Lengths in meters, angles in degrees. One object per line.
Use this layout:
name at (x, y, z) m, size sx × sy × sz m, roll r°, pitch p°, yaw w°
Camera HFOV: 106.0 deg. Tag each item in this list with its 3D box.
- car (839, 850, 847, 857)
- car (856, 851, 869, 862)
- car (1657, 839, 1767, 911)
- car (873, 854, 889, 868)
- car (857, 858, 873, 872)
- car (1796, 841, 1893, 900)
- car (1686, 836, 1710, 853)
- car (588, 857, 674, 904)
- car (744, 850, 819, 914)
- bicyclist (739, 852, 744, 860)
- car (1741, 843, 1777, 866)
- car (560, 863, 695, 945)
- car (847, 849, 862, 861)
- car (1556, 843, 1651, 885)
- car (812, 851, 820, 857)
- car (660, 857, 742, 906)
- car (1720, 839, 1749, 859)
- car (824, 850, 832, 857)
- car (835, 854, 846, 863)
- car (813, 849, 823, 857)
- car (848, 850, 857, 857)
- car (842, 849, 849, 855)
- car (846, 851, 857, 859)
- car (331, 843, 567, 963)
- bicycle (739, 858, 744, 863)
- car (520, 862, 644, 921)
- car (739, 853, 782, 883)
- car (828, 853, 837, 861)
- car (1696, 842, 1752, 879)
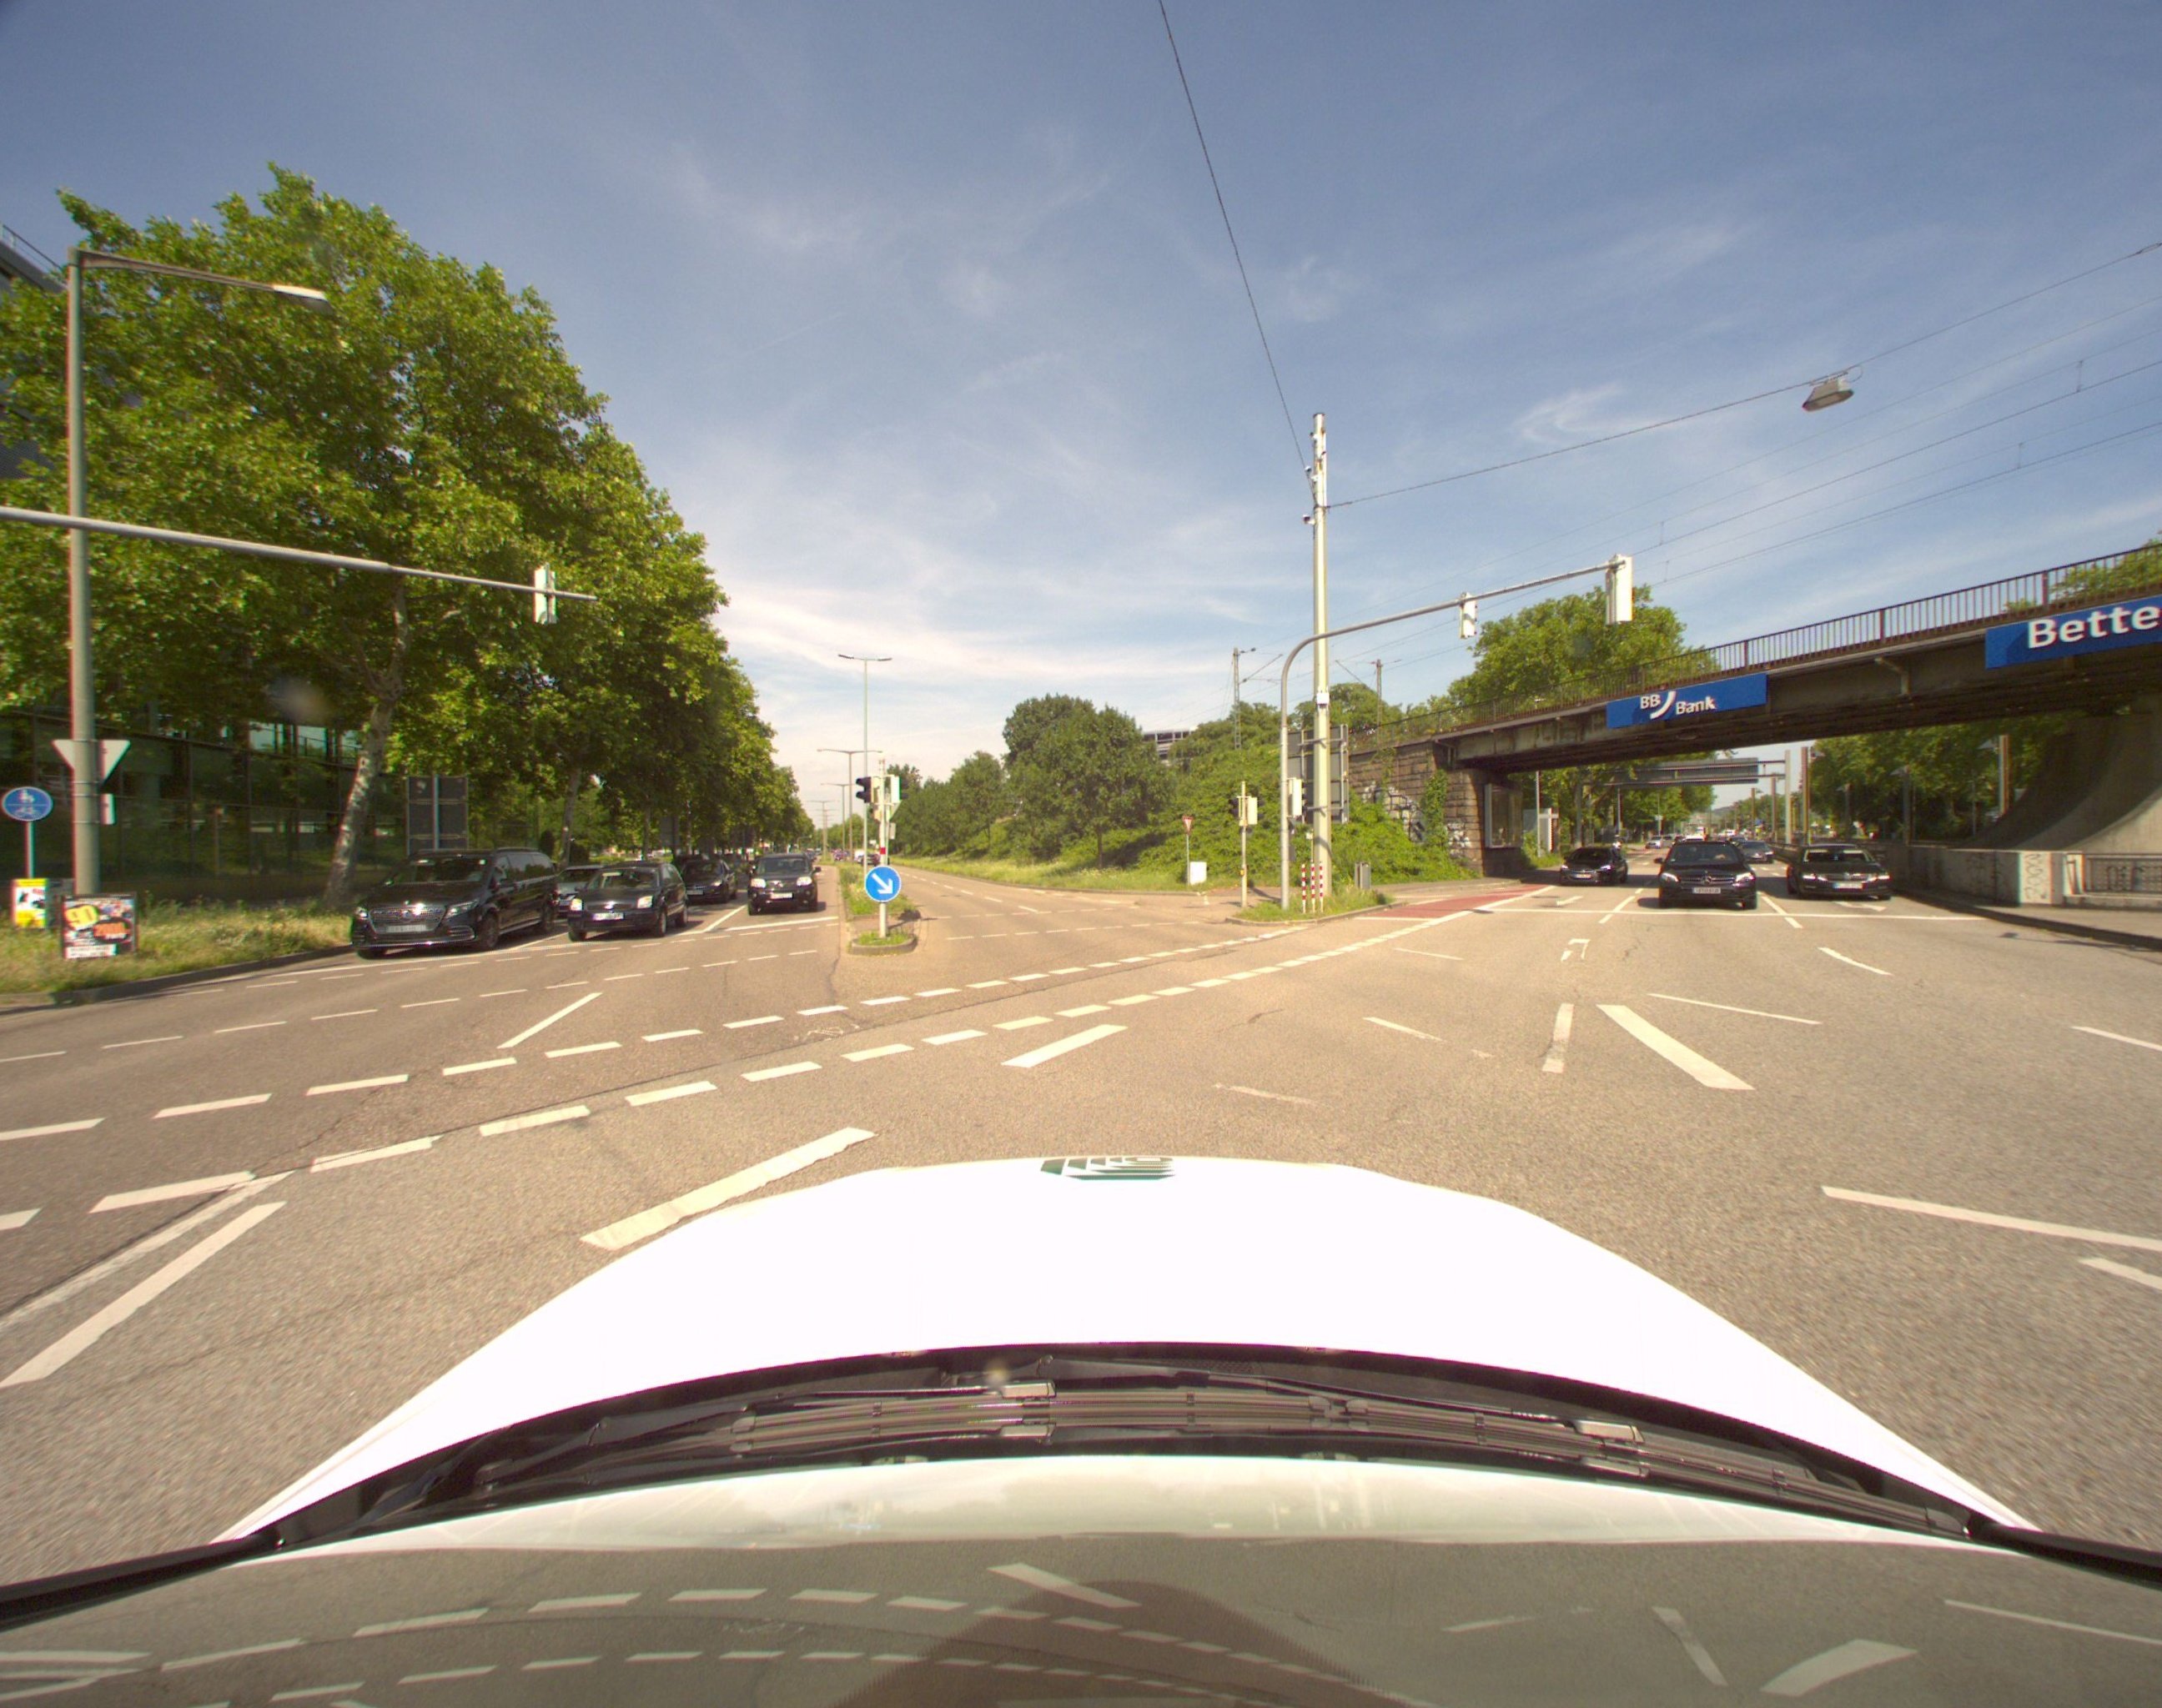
car at (-58.323, -0.087, 199.458) m, size 1.998 × 1.662 × 4.222 m, roll -1°, pitch 0°, yaw -17°
car at (-34.841, 0.402, 129.777) m, size 1.998 × 1.708 × 4.239 m, roll -1°, pitch 0°, yaw -17°
car at (15.754, 0.440, 20.532) m, size 1.974 × 1.596 × 4.474 m, roll 0°, pitch 0°, yaw 35°
car at (-29.215, 1.036, 118.836) m, size 2.023 × 1.837 × 3.978 m, roll 0°, pitch 2°, yaw -17°
car at (-26.254, 1.310, 98.875) m, size 1.741 × 1.535 × 3.978 m, roll 0°, pitch 2°, yaw -17°
car at (20.414, 0.371, 21.894) m, size 1.671 × 1.442 × 4.025 m, roll 0°, pitch 0°, yaw 40°
car at (61.221, -0.941, 80.798) m, size 1.780 × 1.717 × 4.025 m, roll -1°, pitch 0°, yaw 38°
car at (-17.022, 0.945, 31.055) m, size 1.892 × 1.590 × 4.420 m, roll -2°, pitch 1°, yaw -16°
car at (-8.486, 0.707, 23.352) m, size 1.813 × 1.615 × 4.463 m, roll -1°, pitch 1°, yaw -18°
bicyclist at (-65.269, 0.419, 156.662) m, size 0.683 × 1.485 × 0.936 m, roll -1°, pitch 0°, yaw -17°
car at (43.313, 0.007, 52.028) m, size 1.671 × 1.442 × 4.025 m, roll 0°, pitch 0°, yaw 41°
car at (-9.649, 0.966, 17.666) m, size 1.766 × 1.475 × 3.935 m, roll -1°, pitch 0°, yaw -17°
car at (-32.012, 0.155, 115.116) m, size 1.999 × 1.684 × 3.977 m, roll -1°, pitch 0°, yaw -17°
car at (20.076, 0.352, 31.241) m, size 4.236 × 1.506 × 1.807 m, roll -1°, pitch 0°, yaw -39°
car at (-78.153, 0.014, 240.238) m, size 1.996 × 1.775 × 3.981 m, roll -1°, pitch 0°, yaw -14°
car at (-13.062, 0.883, 28.260) m, size 1.840 × 1.462 × 4.491 m, roll -3°, pitch 1°, yaw -16°
car at (60.103, -0.448, 74.927) m, size 1.974 × 1.831 × 4.347 m, roll -1°, pitch 0°, yaw 38°
car at (-72.745, -0.146, 234.348) m, size 1.998 × 1.860 × 3.978 m, roll -1°, pitch 0°, yaw -16°
car at (-38.306, 0.708, 129.765) m, size 1.630 × 1.483 × 4.024 m, roll 1°, pitch 0°, yaw -18°
car at (-52.885, -0.217, 163.753) m, size 1.776 × 1.467 × 4.645 m, roll -2°, pitch 0°, yaw -17°
car at (-56.477, -0.126, 201.555) m, size 1.917 × 1.845 × 3.975 m, roll -1°, pitch 0°, yaw -18°
car at (-72.209, -0.492, 249.949) m, size 1.917 × 1.845 × 3.975 m, roll -1°, pitch 0°, yaw -18°
car at (-44.446, 0.167, 157.864) m, size 1.998 × 1.629 × 4.063 m, roll -1°, pitch 0°, yaw -17°
car at (-12.130, 0.762, 16.153) m, size 1.943 × 1.919 × 5.198 m, roll -1°, pitch 1°, yaw -17°
bicycle at (-65.175, 1.219, 156.521) m, size 0.691 × 0.866 × 1.915 m, roll -1°, pitch 0°, yaw -17°
car at (-14.755, 1.037, 24.415) m, size 1.895 × 1.449 × 4.976 m, roll -2°, pitch 1°, yaw -16°
car at (-18.886, 0.788, 48.204) m, size 1.999 × 1.610 × 4.470 m, roll -1°, pitch 1°, yaw -17°
car at (-54.383, 0.630, 178.141) m, size 1.917 × 1.845 × 3.975 m, roll -1°, pitch 0°, yaw -18°
car at (26.656, 0.234, 33.851) m, size 1.686 × 1.420 × 4.026 m, roll 0°, pitch 1°, yaw 37°
